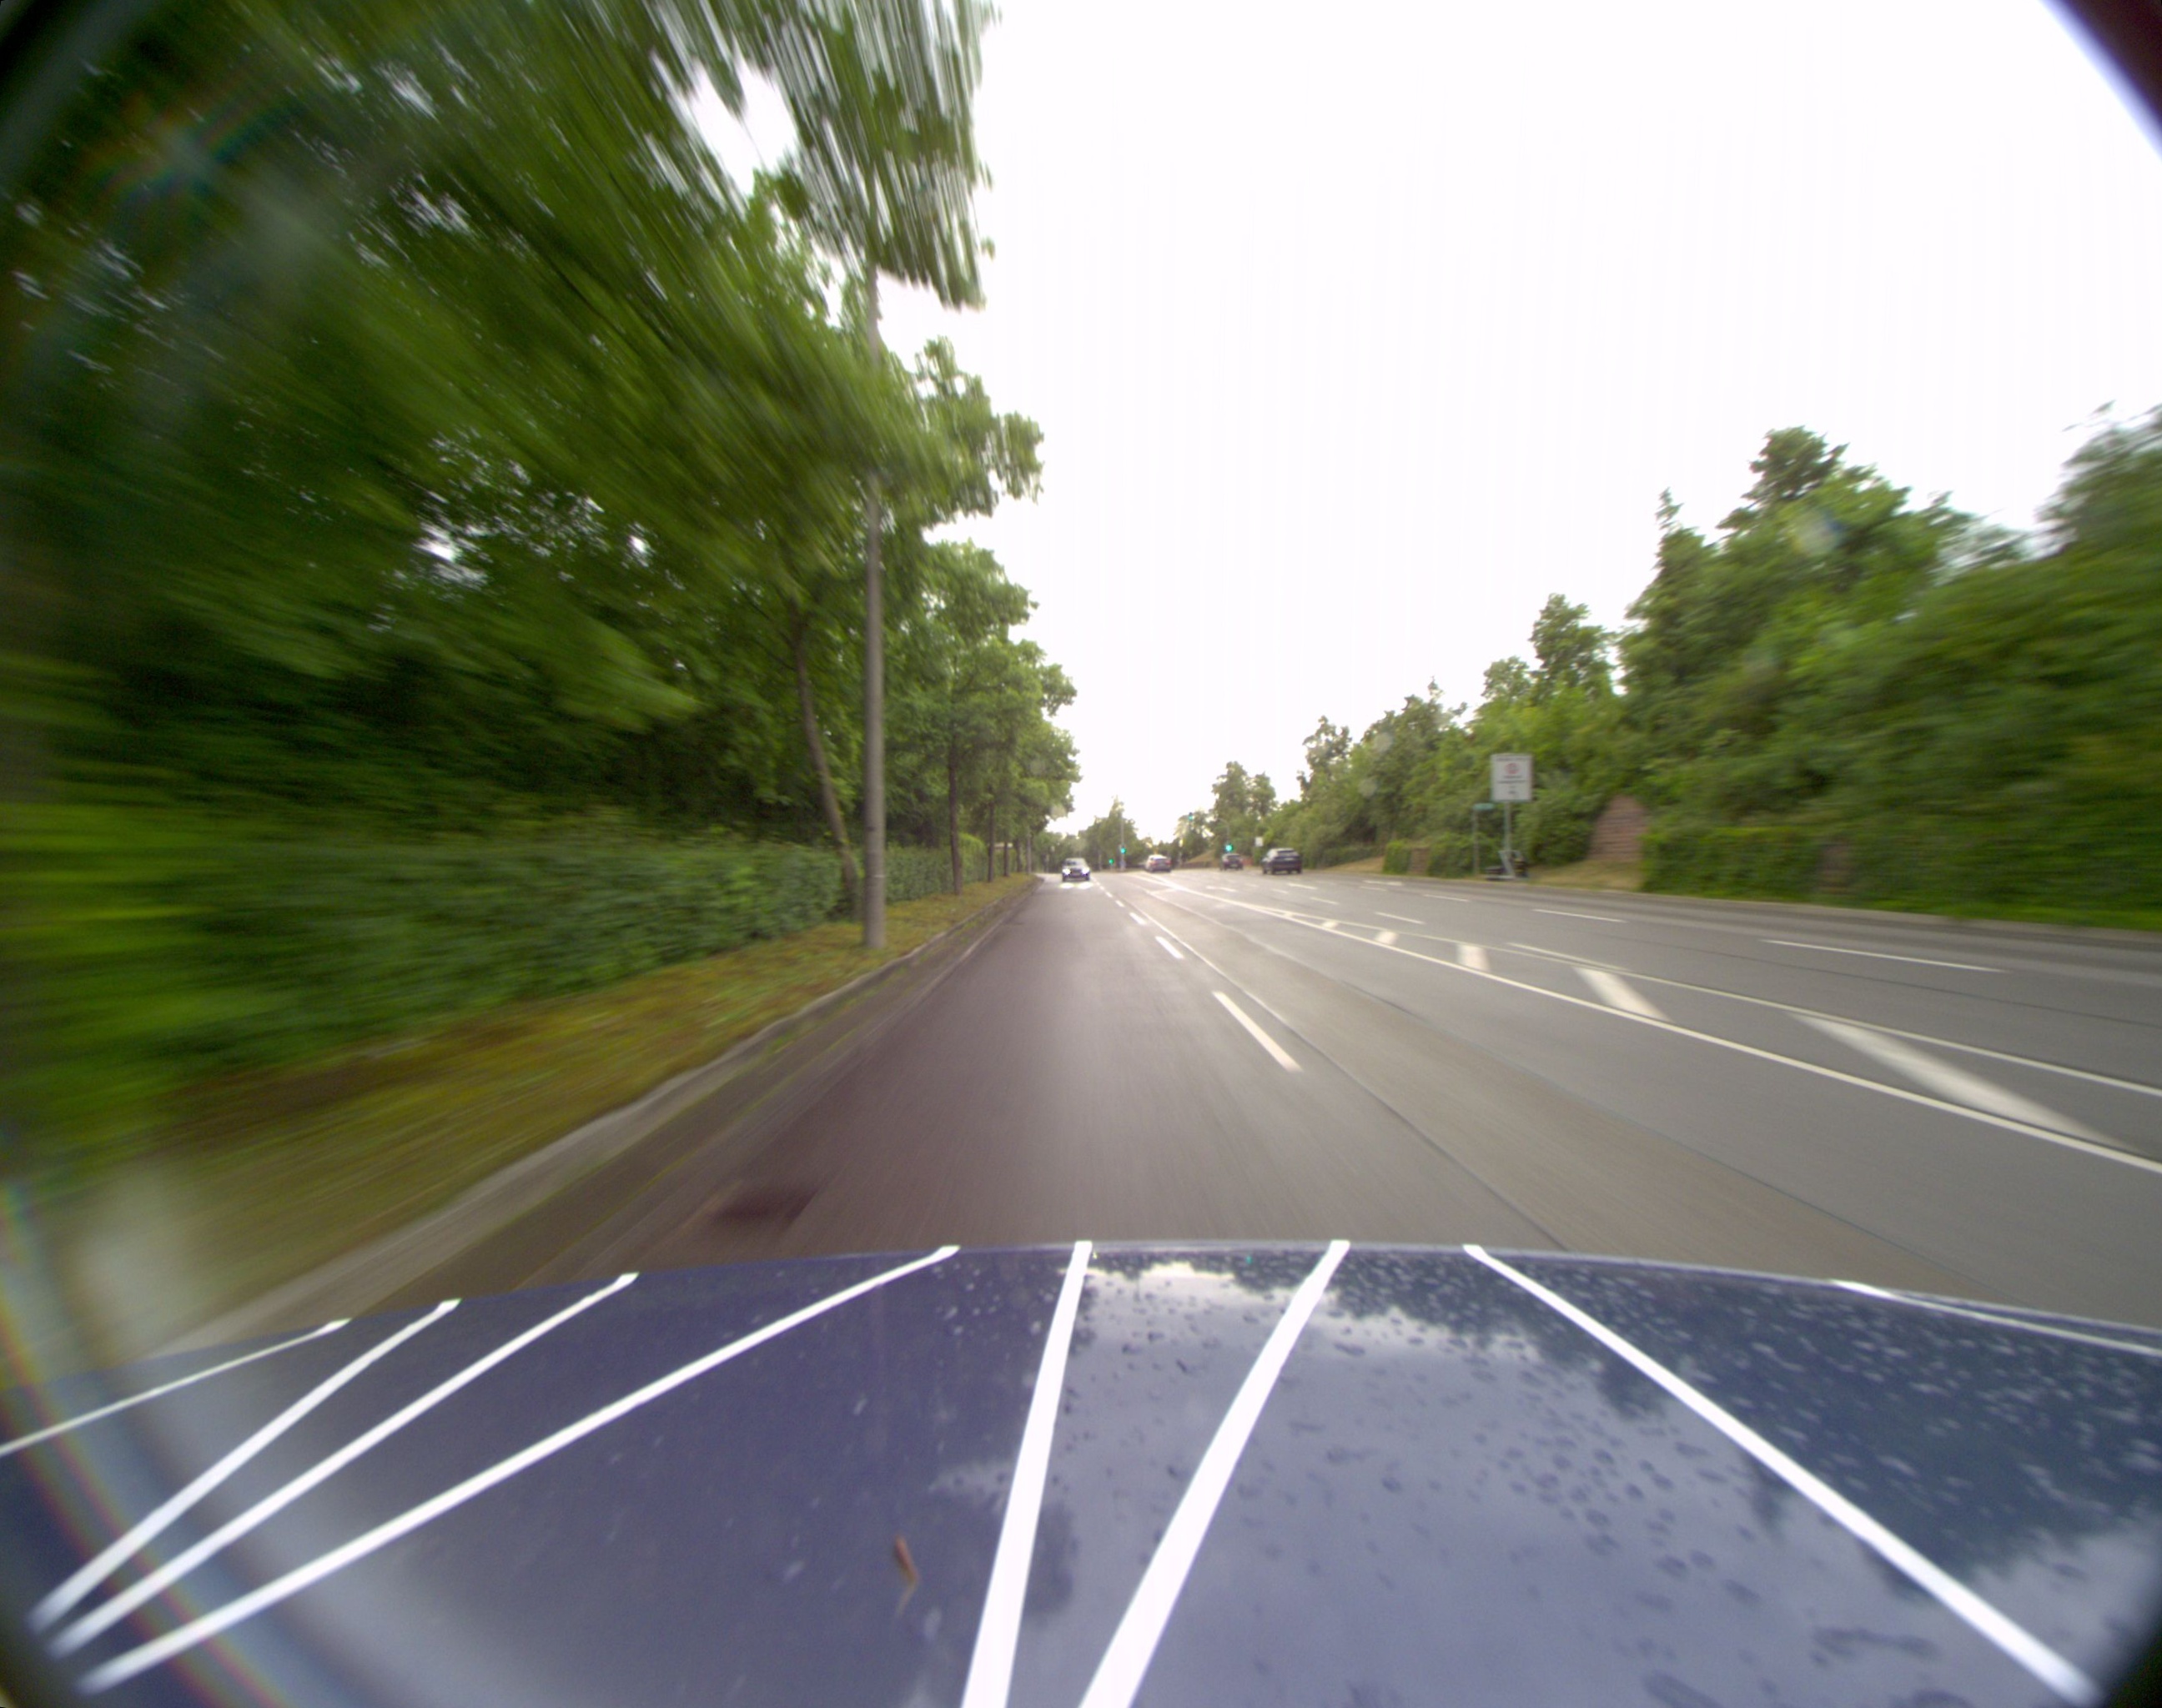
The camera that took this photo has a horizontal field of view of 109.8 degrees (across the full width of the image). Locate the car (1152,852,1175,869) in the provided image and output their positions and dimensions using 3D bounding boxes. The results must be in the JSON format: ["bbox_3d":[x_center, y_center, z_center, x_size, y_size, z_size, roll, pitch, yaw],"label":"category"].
[{"bbox_3d":[7.643,0.621,70.892,1.781,1.459,3.998,-2,0,2],"label":"car"}]

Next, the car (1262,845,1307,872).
[{"bbox_3d":[12.934,0.270,48.626,1.804,1.597,4.428,-3,0,2],"label":"car"}]

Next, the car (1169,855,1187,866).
[{"bbox_3d":[15.485,1.002,121.526,1.891,1.646,4.448,-2,0,-4],"label":"car"}]

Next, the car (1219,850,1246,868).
[{"bbox_3d":[13.377,0.412,67.187,1.679,1.459,3.862,-3,0,2],"label":"car"}]

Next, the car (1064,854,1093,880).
[{"bbox_3d":[-0.121,0.842,50.538,1.737,1.577,4.286,-2,0,2],"label":"car"}]

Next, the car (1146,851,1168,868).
[{"bbox_3d":[7.878,0.545,79.002,1.890,1.646,4.450,-2,0,2],"label":"car"}]
